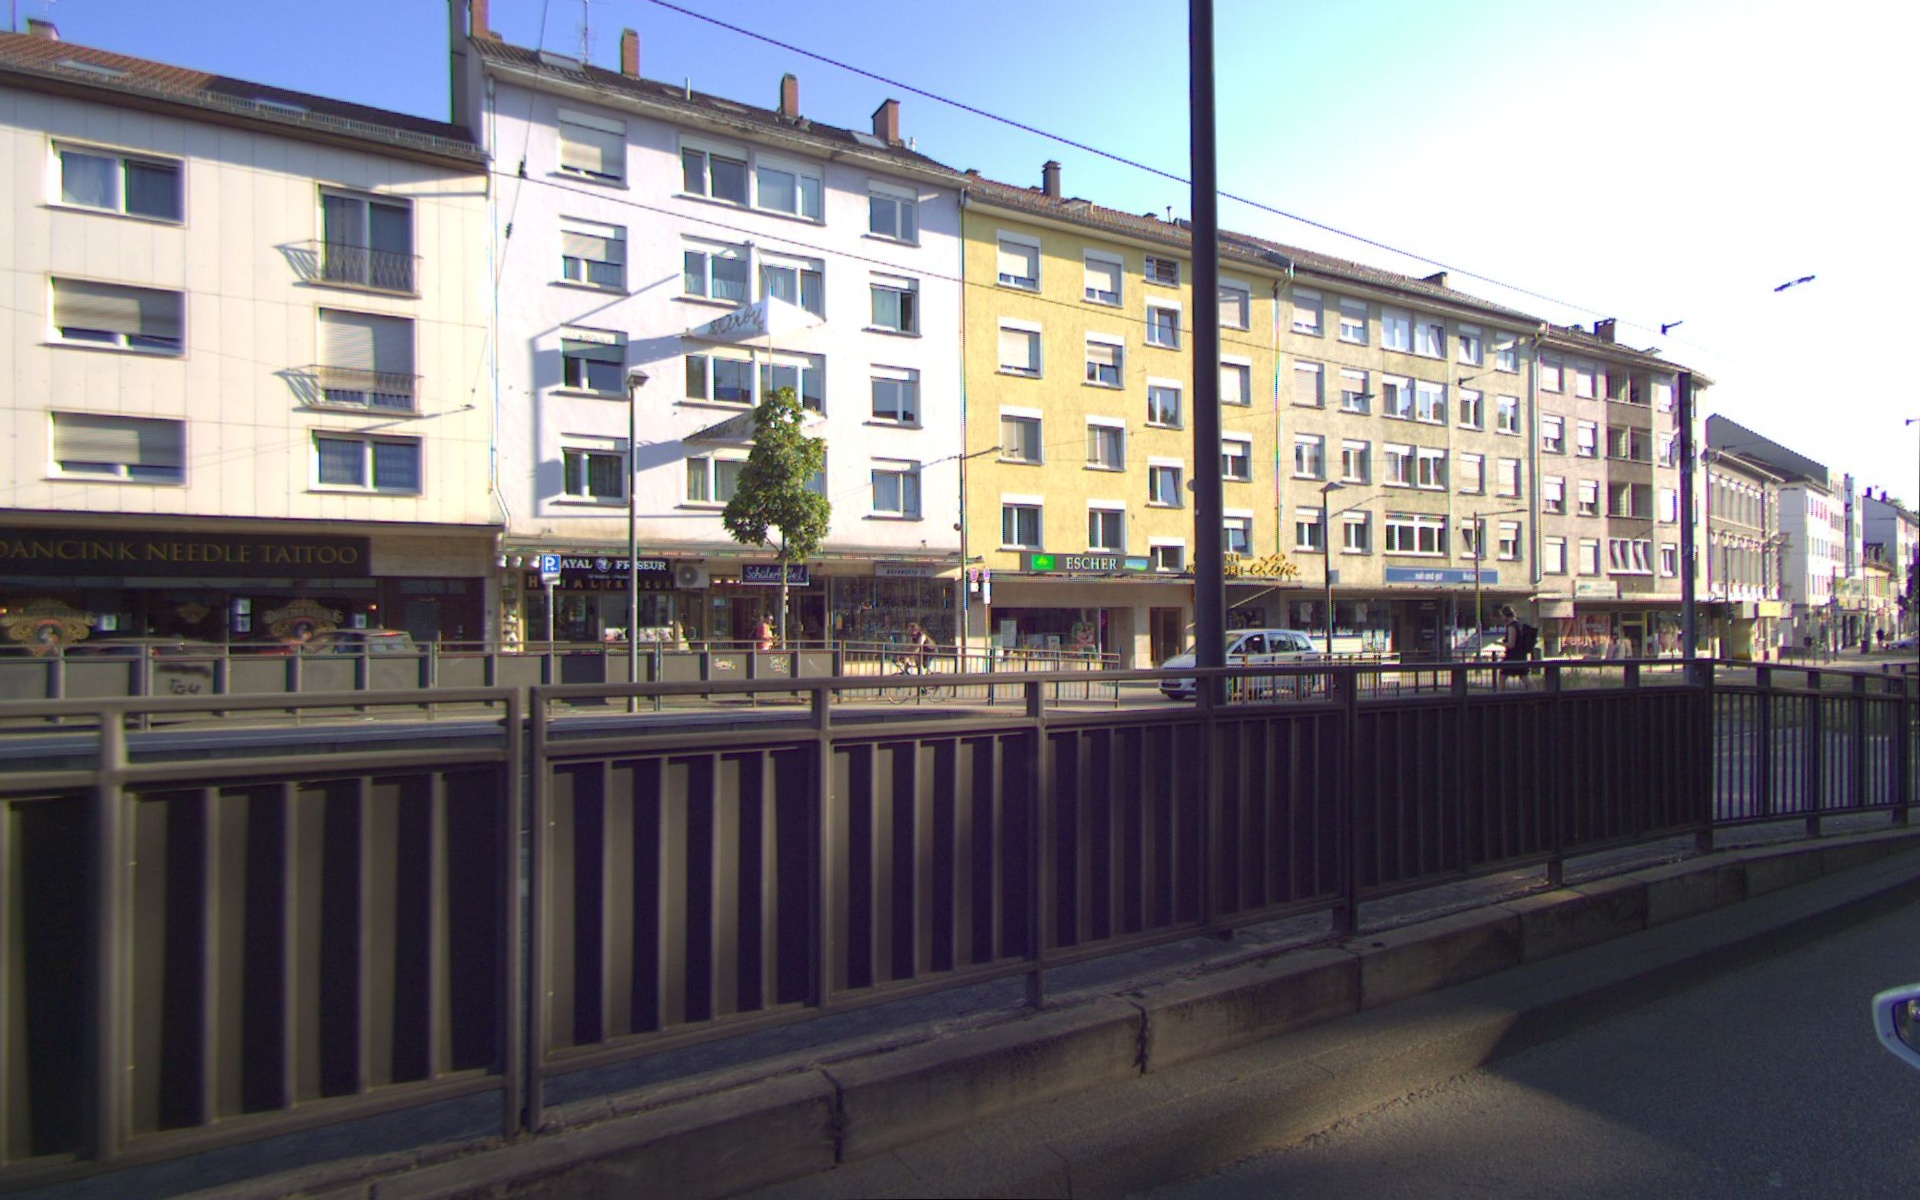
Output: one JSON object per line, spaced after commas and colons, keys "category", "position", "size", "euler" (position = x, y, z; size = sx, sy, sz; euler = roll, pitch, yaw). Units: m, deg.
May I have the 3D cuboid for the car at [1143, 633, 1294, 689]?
{"category": "car", "position": [7.825, 1.800, 30.328], "size": [4.363, 1.498, 1.982], "euler": [1, 0, -33]}

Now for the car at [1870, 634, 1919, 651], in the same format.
{"category": "car", "position": [80.897, 3.622, 85.676], "size": [4.461, 1.431, 2.001], "euler": [0, -2, 17]}

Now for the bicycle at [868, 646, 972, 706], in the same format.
{"category": "bicycle", "position": [-0.872, 1.663, 22.211], "size": [2.252, 1.246, 0.714], "euler": [1, -2, -31]}

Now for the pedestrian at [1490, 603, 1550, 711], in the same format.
{"category": "pedestrian", "position": [10.028, 1.002, 17.993], "size": [0.584, 1.873, 0.737], "euler": [1, -1, -35]}

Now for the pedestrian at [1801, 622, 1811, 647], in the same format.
{"category": "pedestrian", "position": [58.296, 2.365, 69.207], "size": [0.502, 1.736, 0.423], "euler": [1, -2, -33]}

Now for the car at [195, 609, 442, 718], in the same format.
{"category": "car", "position": [-12.308, 1.161, 19.392], "size": [3.693, 1.824, 1.865], "euler": [2, 1, 9]}

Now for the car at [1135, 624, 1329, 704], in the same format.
{"category": "car", "position": [6.468, 1.438, 23.774], "size": [4.385, 1.739, 1.983], "euler": [1, -2, -31]}

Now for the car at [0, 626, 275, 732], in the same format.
{"category": "car", "position": [-14.256, 1.306, 17.362], "size": [3.693, 1.511, 1.865], "euler": [2, 1, 9]}

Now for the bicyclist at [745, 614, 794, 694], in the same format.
{"category": "bicyclist", "position": [-4.656, 1.316, 24.554], "size": [1.042, 1.911, 0.691], "euler": [1, -1, -22]}

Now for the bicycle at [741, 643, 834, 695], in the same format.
{"category": "bicycle", "position": [-4.234, 1.684, 24.718], "size": [2.167, 1.174, 0.704], "euler": [0, -1, -23]}

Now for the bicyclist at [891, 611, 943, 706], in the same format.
{"category": "bicyclist", "position": [-0.959, 1.267, 22.164], "size": [0.900, 2.040, 0.760], "euler": [1, -2, -31]}
